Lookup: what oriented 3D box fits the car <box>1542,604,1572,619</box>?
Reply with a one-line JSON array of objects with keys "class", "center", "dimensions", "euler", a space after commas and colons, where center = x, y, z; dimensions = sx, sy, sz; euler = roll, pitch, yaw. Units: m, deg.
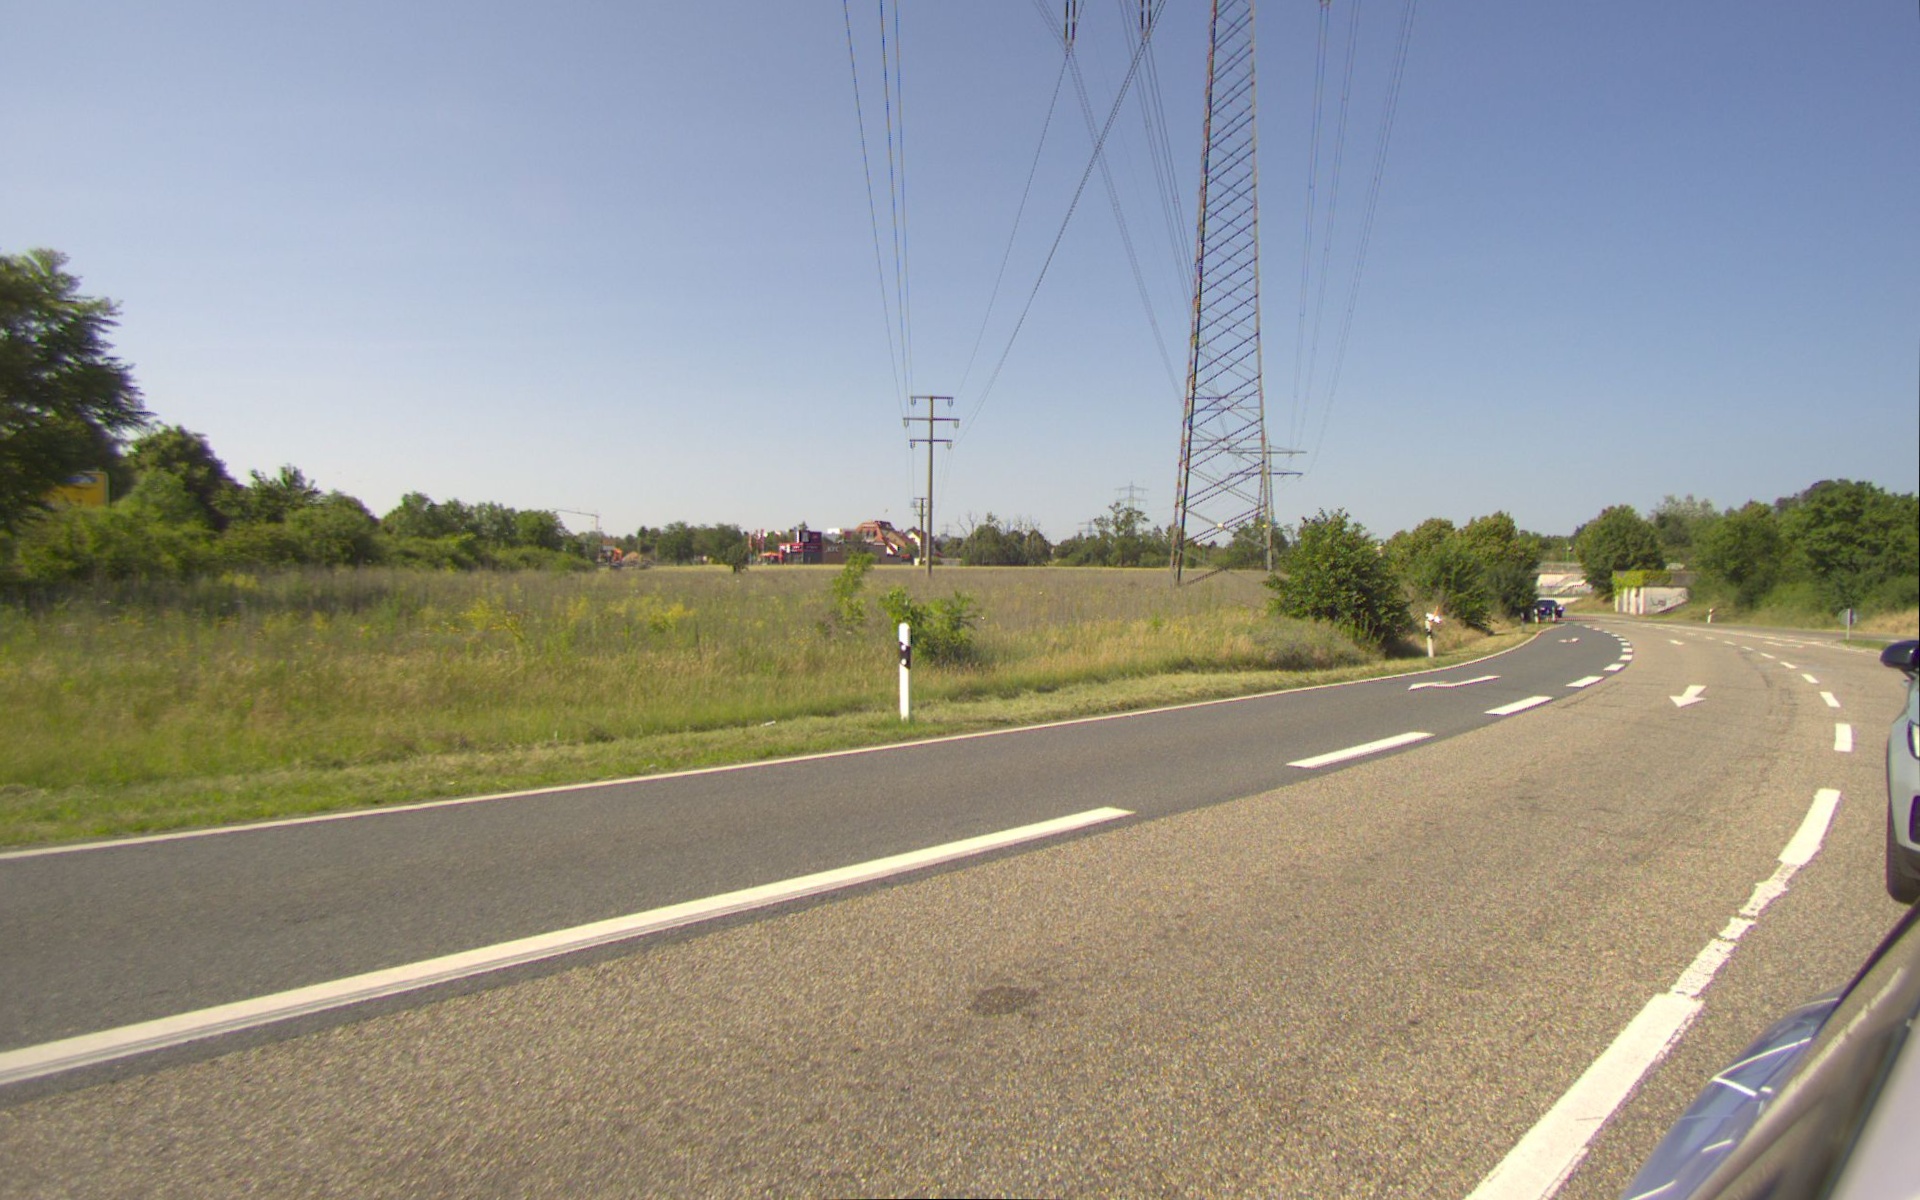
[{"class": "car", "center": [55.359, 1.062, 93.883], "dimensions": [1.877, 1.369, 3.508], "euler": [-1, 0, 22]}]

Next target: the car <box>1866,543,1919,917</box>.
[{"class": "car", "center": [6.046, 0.583, 5.038], "dimensions": [3.583, 1.640, 1.858], "euler": [0, 0, -41]}]
